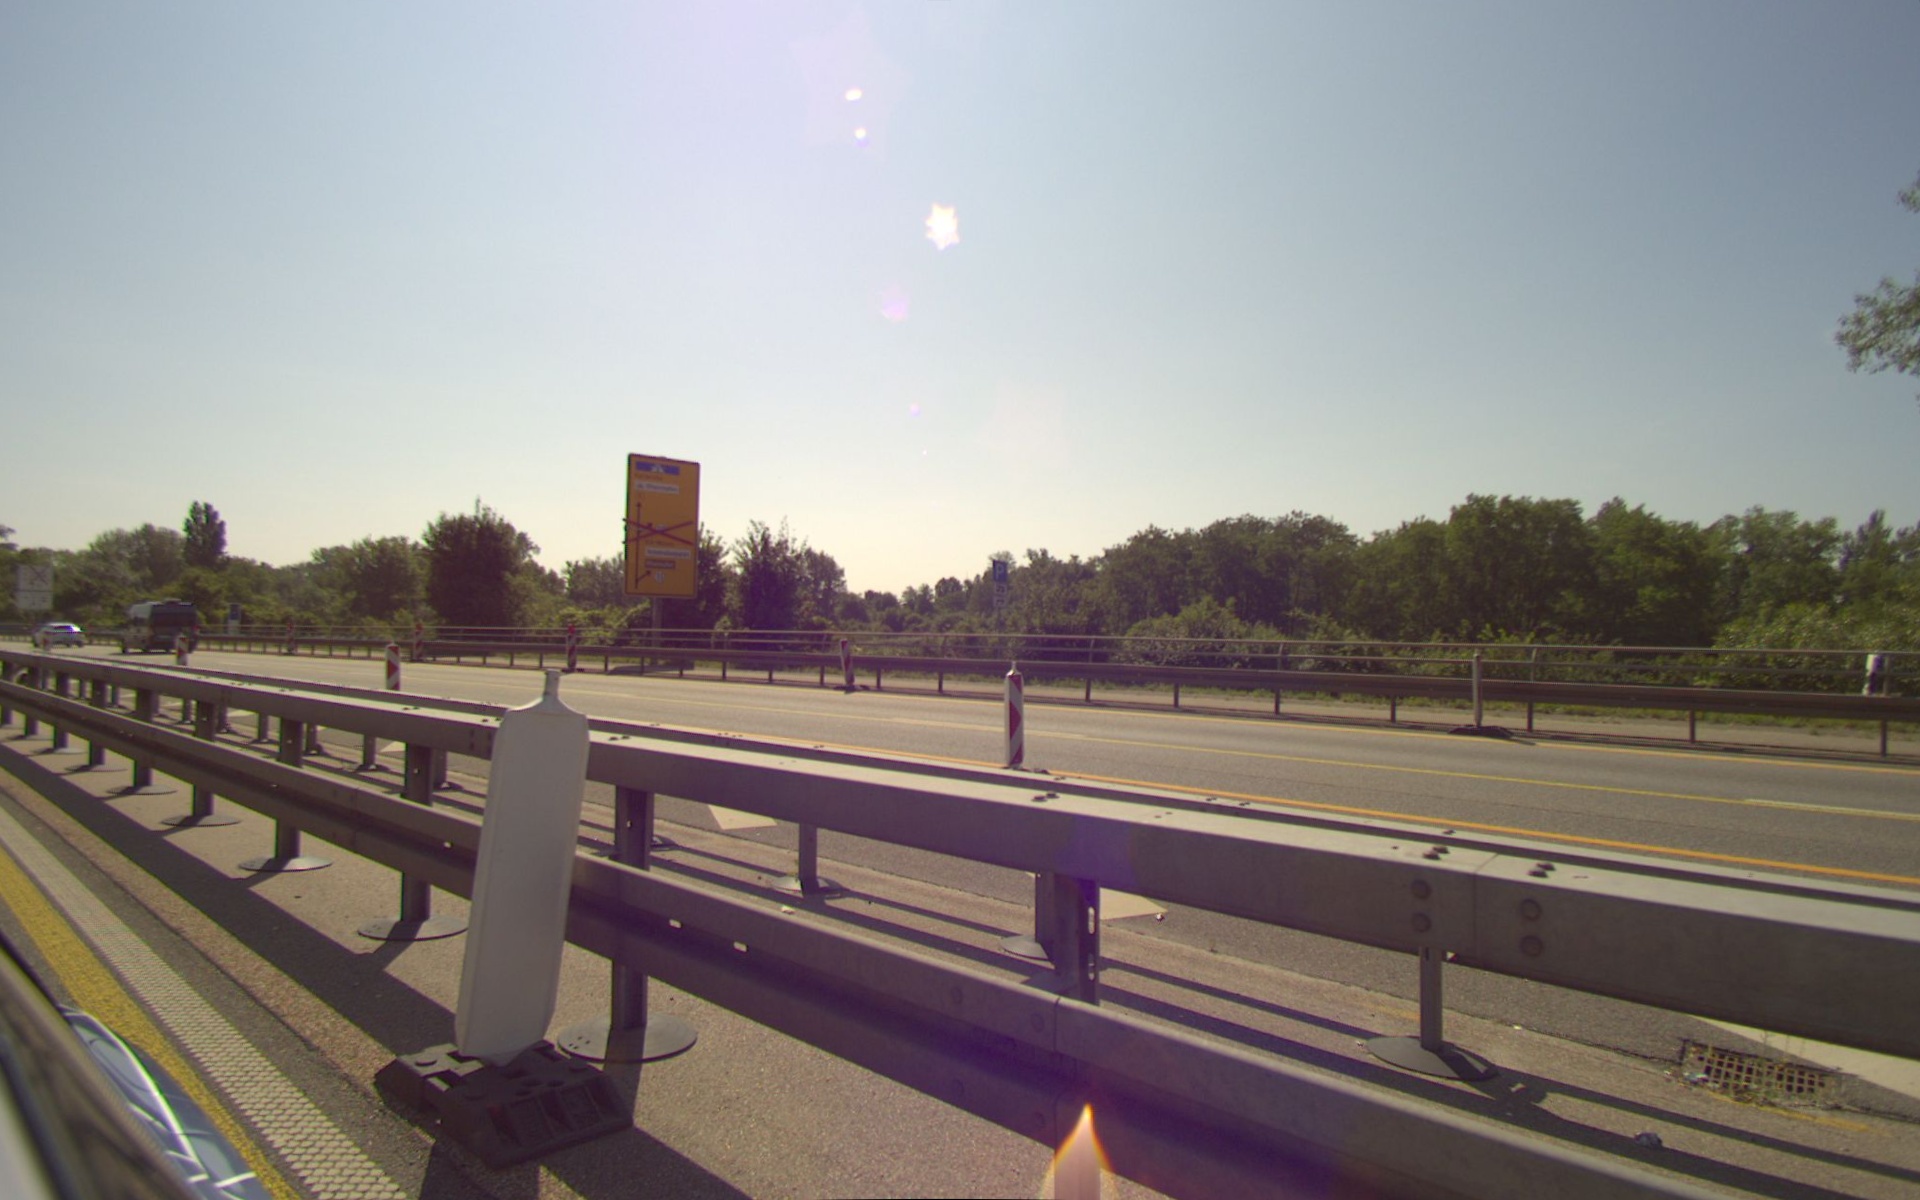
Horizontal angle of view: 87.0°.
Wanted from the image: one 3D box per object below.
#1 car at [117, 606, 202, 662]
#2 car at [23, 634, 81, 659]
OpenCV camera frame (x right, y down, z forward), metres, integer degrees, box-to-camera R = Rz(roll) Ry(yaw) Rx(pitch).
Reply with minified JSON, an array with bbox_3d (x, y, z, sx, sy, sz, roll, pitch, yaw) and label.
[{"bbox_3d":[-40.269,1.703,50.881,5.540,2.681,2.125,-1,-2,39],"label":"car"},{"bbox_3d":[-54.570,2.743,60.823,4.511,1.408,1.703,-1,-2,36],"label":"car"}]
